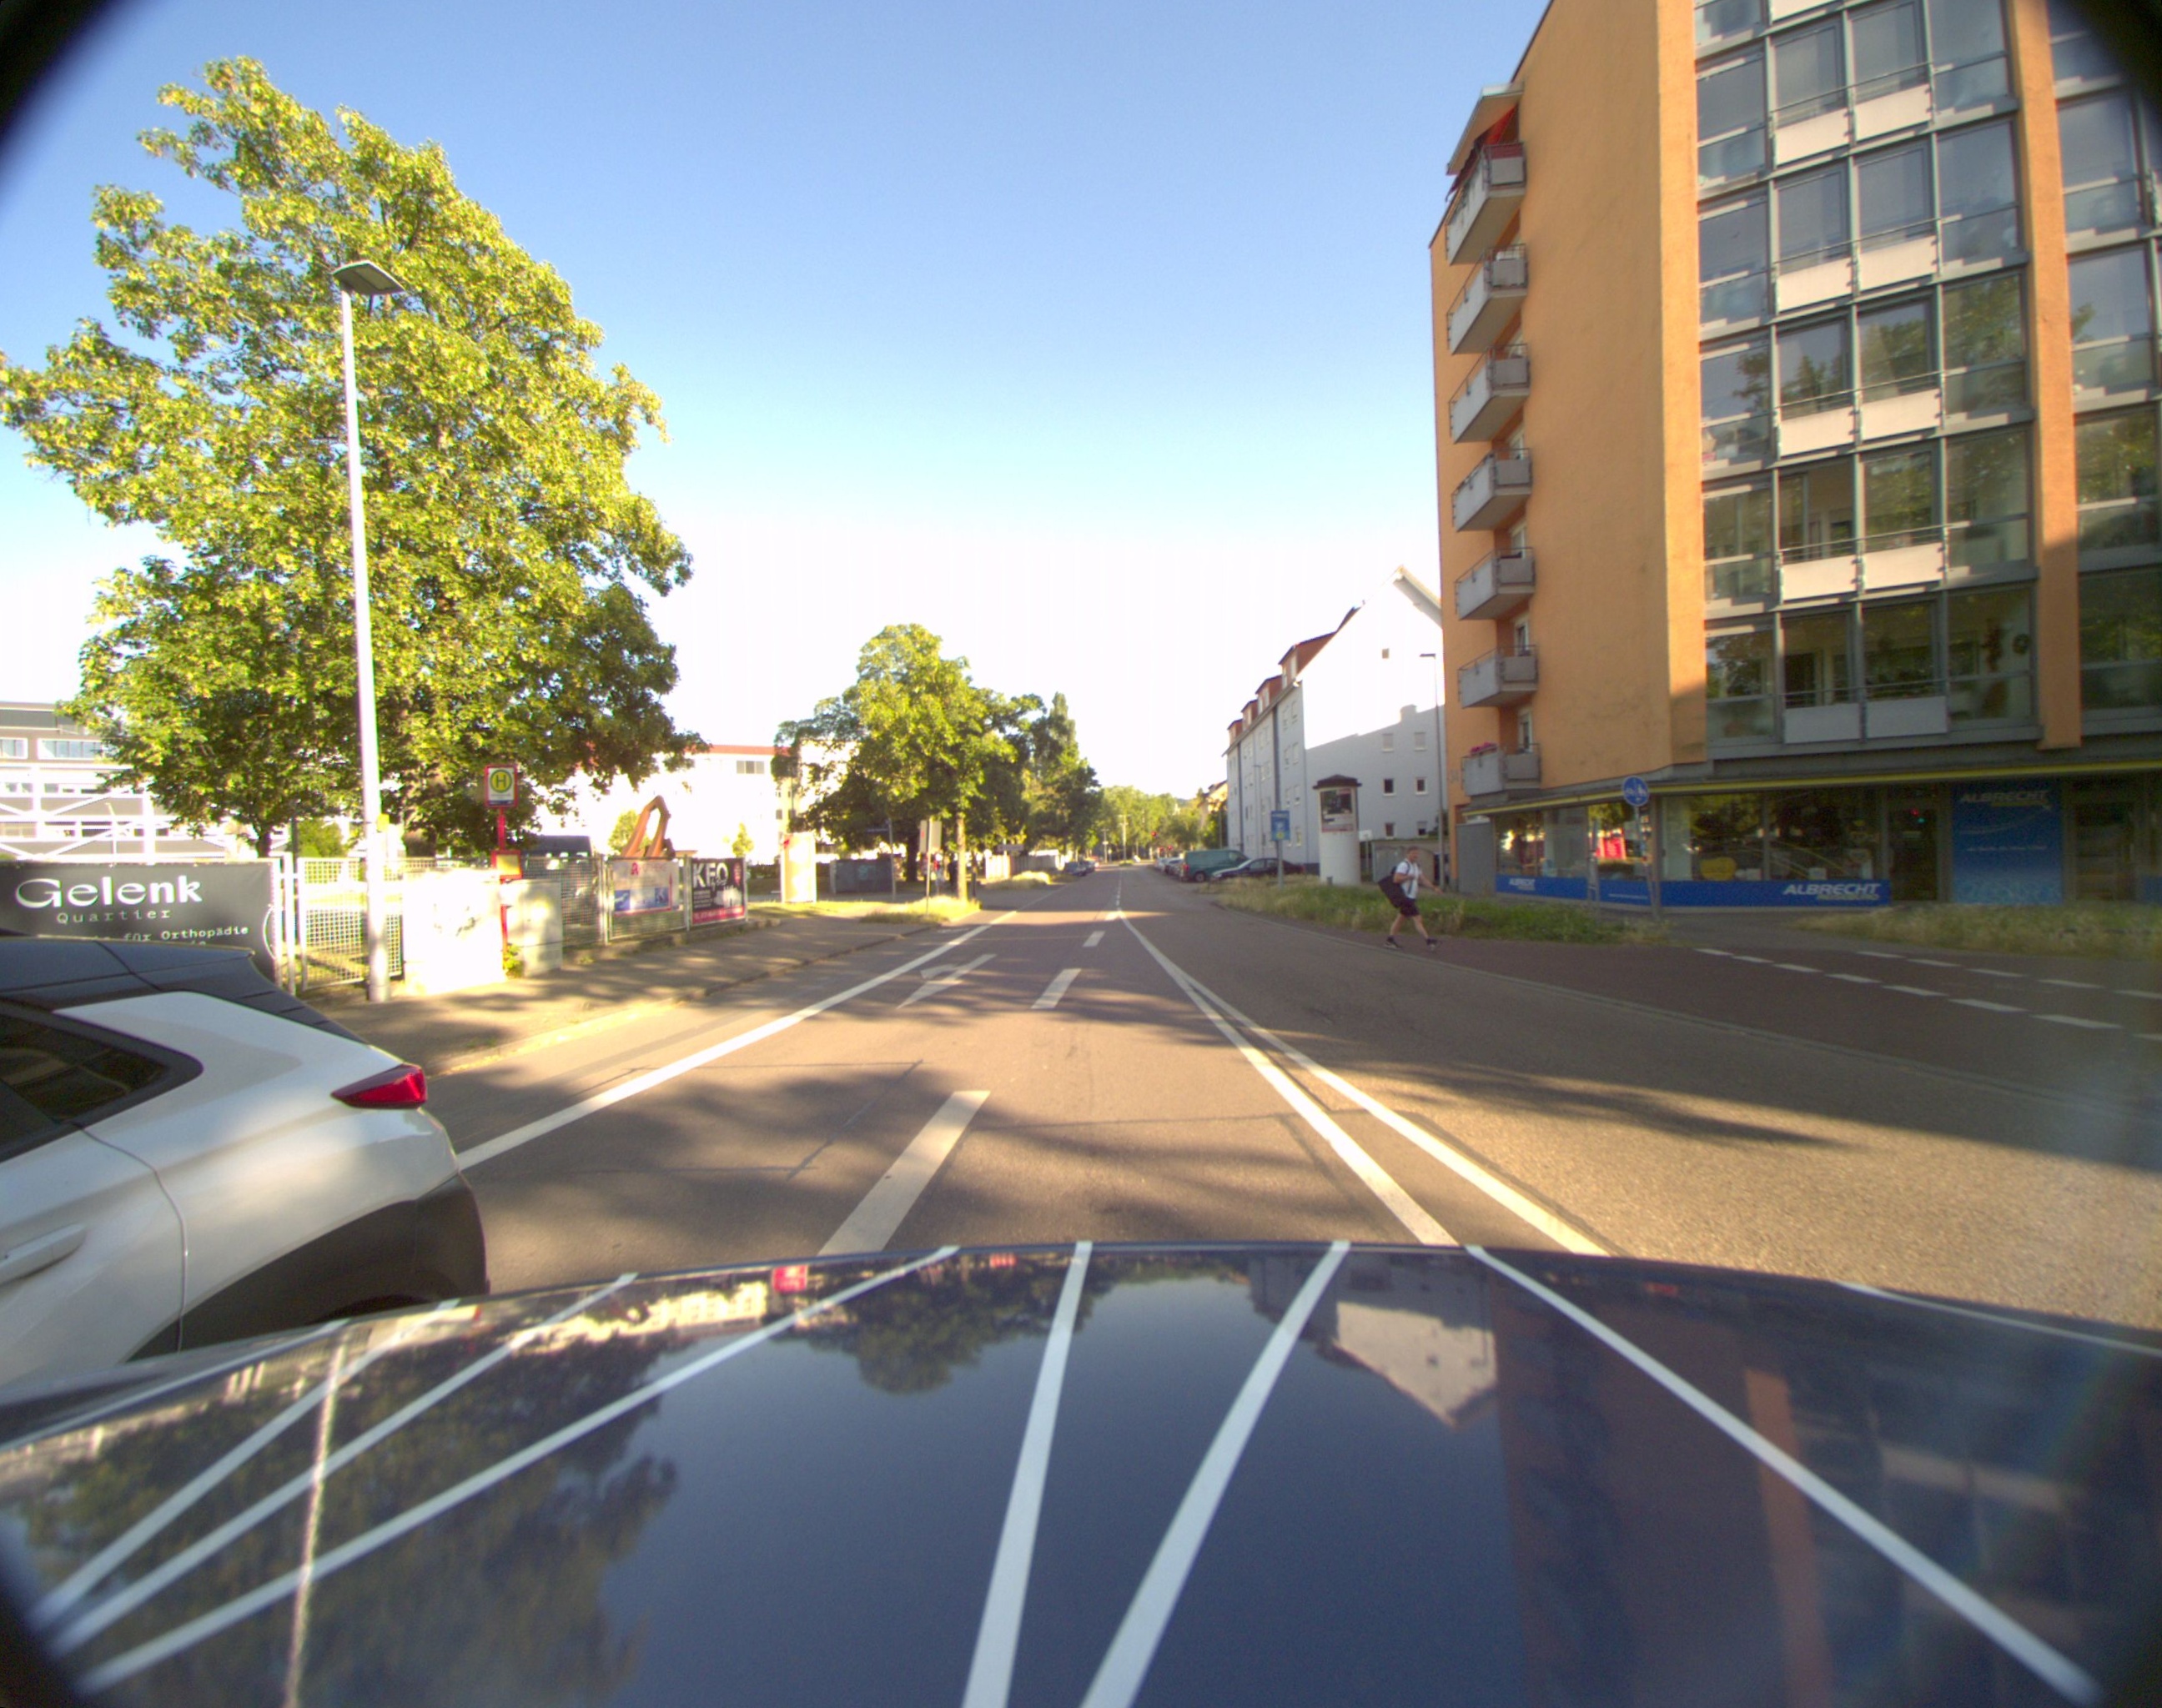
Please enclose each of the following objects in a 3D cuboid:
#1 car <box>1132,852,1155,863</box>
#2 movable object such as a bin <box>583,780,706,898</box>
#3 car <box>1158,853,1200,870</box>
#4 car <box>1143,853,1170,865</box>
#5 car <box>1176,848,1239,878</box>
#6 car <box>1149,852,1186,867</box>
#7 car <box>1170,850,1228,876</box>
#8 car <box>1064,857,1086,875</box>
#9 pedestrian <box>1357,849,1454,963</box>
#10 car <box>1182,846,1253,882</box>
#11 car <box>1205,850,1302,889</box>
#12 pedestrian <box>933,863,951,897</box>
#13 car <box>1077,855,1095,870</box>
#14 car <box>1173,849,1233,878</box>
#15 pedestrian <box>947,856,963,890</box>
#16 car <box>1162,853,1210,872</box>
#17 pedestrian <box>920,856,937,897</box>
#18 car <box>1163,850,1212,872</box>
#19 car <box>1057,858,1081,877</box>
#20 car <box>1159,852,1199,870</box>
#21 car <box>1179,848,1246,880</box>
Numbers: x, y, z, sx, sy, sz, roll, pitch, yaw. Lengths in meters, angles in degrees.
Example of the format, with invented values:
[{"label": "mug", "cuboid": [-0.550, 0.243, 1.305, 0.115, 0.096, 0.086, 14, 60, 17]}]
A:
[{"label": "car", "cuboid": [9.693, 0.586, 118.221, 3.538, 1.564, 1.867, -2, 1, 5]}, {"label": "movable object such as a bin", "cuboid": [-22.235, -0.702, 38.546, 3.986, 5.447, 6.016, -3, 1, -42]}, {"label": "car", "cuboid": [10.300, 0.753, 79.930, 4.257, 1.564, 1.867, -2, 1, 5]}, {"label": "car", "cuboid": [10.458, 0.701, 105.240, 3.538, 1.564, 1.867, -2, 1, 5]}, {"label": "car", "cuboid": [8.494, 0.585, 51.341, 3.995, 1.805, 2.000, -2, 1, 5]}, {"label": "car", "cuboid": [10.215, 0.643, 90.188, 4.257, 1.564, 1.867, -2, 1, 5]}, {"label": "car", "cuboid": [8.741, 0.660, 56.436, 4.071, 1.741, 1.899, -2, 1, 5]}, {"label": "car", "cuboid": [-0.594, 1.149, 73.941, 1.998, 1.521, 3.999, -2, 1, 1]}, {"label": "pedestrian", "cuboid": [5.262, 0.805, 12.373, 0.903, 1.727, 1.086, -3, 1, -21]}, {"label": "car", "cuboid": [8.188, 0.591, 45.937, 3.996, 1.936, 2.000, -2, 1, 4]}, {"label": "car", "cuboid": [8.292, 0.730, 36.872, 4.423, 1.652, 2.001, -2, 1, 9]}, {"label": "pedestrian", "cuboid": [-6.028, 1.117, 32.910, 0.609, 1.426, 0.639, -2, 1, 1]}, {"label": "car", "cuboid": [0.561, 0.948, 87.974, 1.998, 1.521, 3.999, -2, 1, 1]}, {"label": "car", "cuboid": [8.564, 0.666, 53.692, 4.059, 1.805, 1.937, -2, 1, 5]}, {"label": "pedestrian", "cuboid": [-6.237, 0.938, 37.674, 0.696, 1.659, 0.638, -2, 1, -11]}, {"label": "car", "cuboid": [9.561, 0.771, 69.373, 4.257, 1.564, 1.867, -2, 1, 5]}, {"label": "pedestrian", "cuboid": [-6.691, 0.976, 33.425, 0.609, 1.727, 0.638, -2, 1, -5]}, {"label": "car", "cuboid": [9.267, 0.606, 66.486, 4.117, 1.762, 1.757, -2, 1, 5]}, {"label": "car", "cuboid": [-1.097, 1.216, 69.593, 1.998, 1.521, 3.999, -2, 1, 1]}, {"label": "car", "cuboid": [10.252, 0.723, 80.065, 4.071, 1.741, 1.899, -2, 1, 5]}, {"label": "car", "cuboid": [8.350, 0.621, 48.585, 3.995, 1.805, 2.000, -2, 1, 5]}]
